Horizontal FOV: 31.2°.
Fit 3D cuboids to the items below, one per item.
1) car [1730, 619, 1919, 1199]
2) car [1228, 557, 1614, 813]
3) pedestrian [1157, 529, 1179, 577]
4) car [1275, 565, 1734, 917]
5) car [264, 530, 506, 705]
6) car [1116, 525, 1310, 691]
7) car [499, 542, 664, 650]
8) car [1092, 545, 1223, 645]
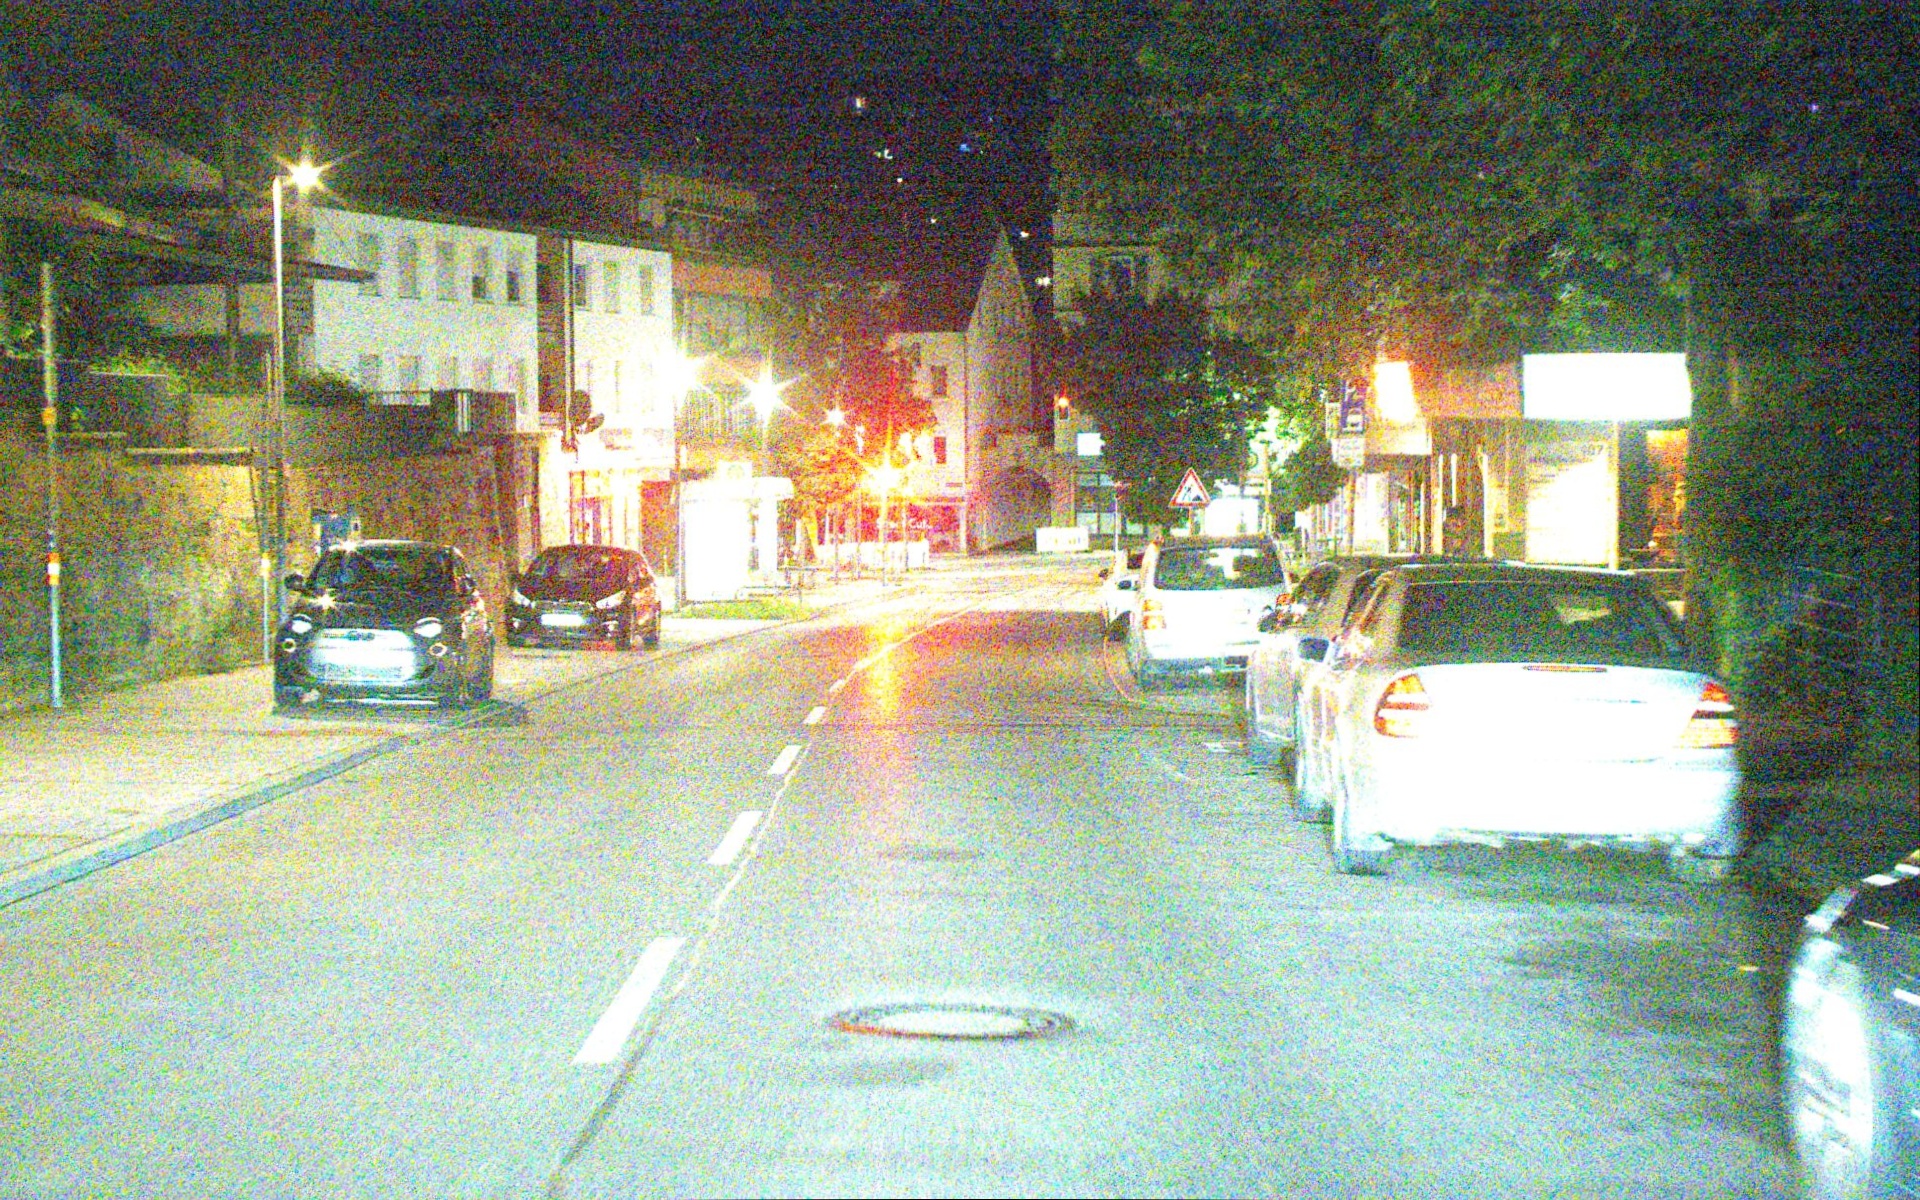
[{"bbox_3d":[2.695,0.796,5.542,1.762,1.411,4.441,1,1,-2],"label":"car"},{"bbox_3d":[2.852,0.470,22.170,1.780,1.432,4.290,1,1,-1],"label":"car"},{"bbox_3d":[7.867,-1.780,130.214,0.716,1.789,0.569,1,0,12],"label":"pedestrian"},{"bbox_3d":[2.536,0.578,16.998,1.677,1.442,4.611,1,1,2],"label":"car"},{"bbox_3d":[-5.327,0.159,32.237,1.691,1.518,3.691,1,0,-1],"label":"car"},{"bbox_3d":[2.675,0.049,37.210,1.787,1.636,4.380,-2,1,1],"label":"car"},{"bbox_3d":[-5.388,-0.094,49.383,1.692,1.432,4.128,2,1,3],"label":"car"},{"bbox_3d":[3.025,-0.108,53.409,1.857,1.437,4.594,-2,1,2],"label":"car"}]
